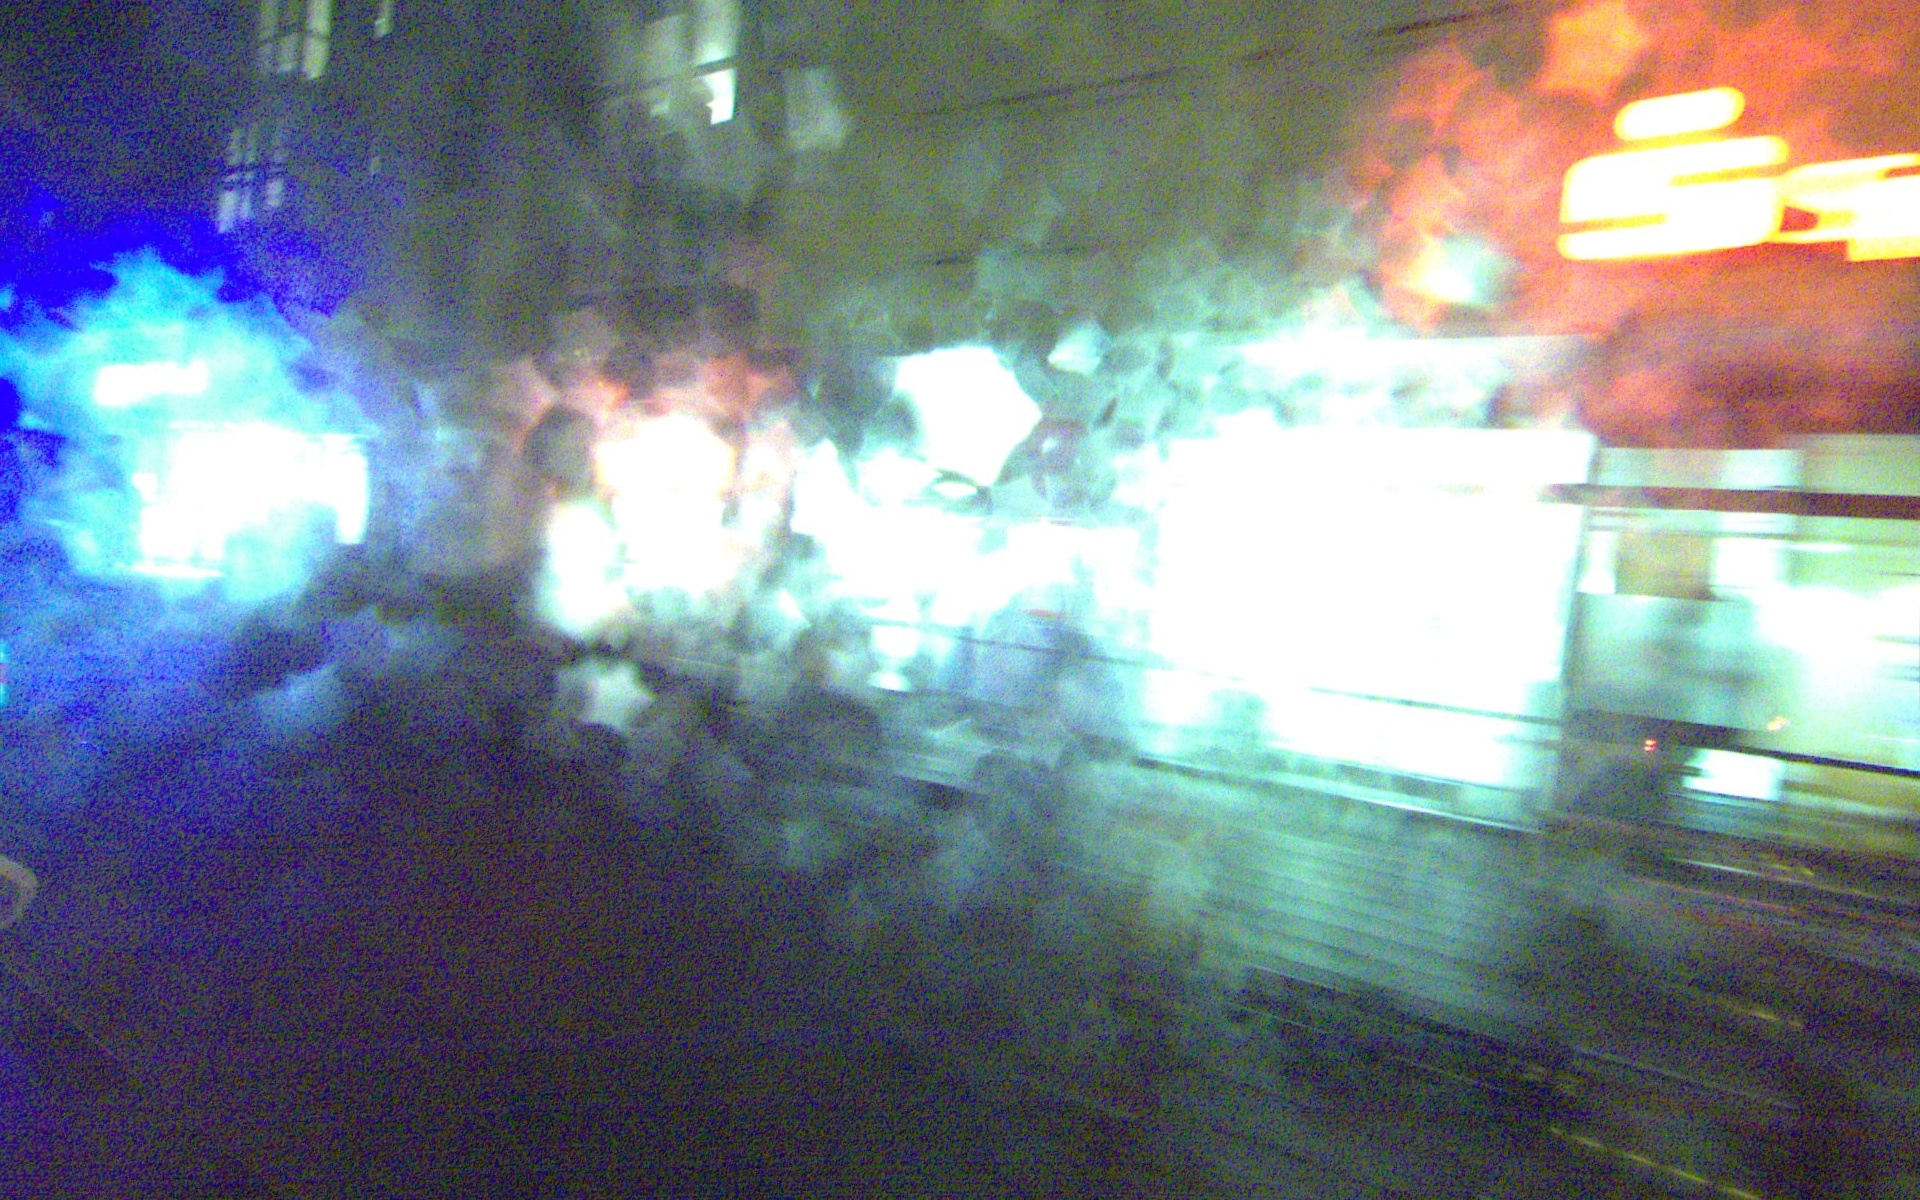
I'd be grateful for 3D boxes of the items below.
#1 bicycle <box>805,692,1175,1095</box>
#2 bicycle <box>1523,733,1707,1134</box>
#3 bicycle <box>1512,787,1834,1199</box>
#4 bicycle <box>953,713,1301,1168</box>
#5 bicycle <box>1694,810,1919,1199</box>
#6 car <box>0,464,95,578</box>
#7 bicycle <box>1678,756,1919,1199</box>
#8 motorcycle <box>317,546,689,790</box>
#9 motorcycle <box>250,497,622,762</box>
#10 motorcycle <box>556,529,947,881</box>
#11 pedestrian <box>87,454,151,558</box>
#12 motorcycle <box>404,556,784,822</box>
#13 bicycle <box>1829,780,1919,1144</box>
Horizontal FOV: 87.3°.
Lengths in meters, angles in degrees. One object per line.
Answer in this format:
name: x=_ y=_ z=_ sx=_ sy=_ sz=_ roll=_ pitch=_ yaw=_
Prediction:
bicycle: x=0.197 y=0.916 z=3.635 sx=0.361 sy=0.966 sz=1.664 roll=7 pitch=6 yaw=38
bicycle: x=2.428 y=1.133 z=3.843 sx=0.360 sy=0.966 sz=1.528 roll=6 pitch=6 yaw=27
bicycle: x=1.634 y=1.123 z=2.488 sx=0.360 sy=0.966 sz=1.528 roll=6 pitch=6 yaw=27
bicycle: x=0.619 y=0.959 z=3.278 sx=0.361 sy=0.966 sz=1.524 roll=7 pitch=7 yaw=38
bicycle: x=2.044 y=1.143 z=2.233 sx=0.360 sy=0.966 sz=1.528 roll=6 pitch=6 yaw=27
car: x=-14.617 y=-1.189 z=13.290 sx=1.750 sy=1.552 sz=4.511 roll=7 pitch=4 yaw=31
bicycle: x=2.941 y=1.190 z=3.533 sx=0.360 sy=0.966 sz=1.528 roll=6 pitch=6 yaw=27
motorcycle: x=-2.989 y=0.370 z=6.844 sx=0.852 sy=1.337 sz=2.171 roll=7 pitch=4 yaw=31
motorcycle: x=-3.721 y=0.156 z=7.390 sx=0.852 sy=1.611 sz=2.287 roll=7 pitch=4 yaw=31
motorcycle: x=-1.060 y=0.463 z=5.717 sx=0.852 sy=1.569 sz=2.171 roll=7 pitch=4 yaw=31
pedestrian: x=-15.559 y=-1.728 z=18.620 sx=0.614 sy=1.813 sz=0.702 roll=9 pitch=4 yaw=35
motorcycle: x=-2.199 y=0.451 z=6.385 sx=0.852 sy=1.337 sz=2.171 roll=7 pitch=4 yaw=31
bicycle: x=3.269 y=1.227 z=3.177 sx=0.360 sy=0.966 sz=1.528 roll=6 pitch=6 yaw=27
